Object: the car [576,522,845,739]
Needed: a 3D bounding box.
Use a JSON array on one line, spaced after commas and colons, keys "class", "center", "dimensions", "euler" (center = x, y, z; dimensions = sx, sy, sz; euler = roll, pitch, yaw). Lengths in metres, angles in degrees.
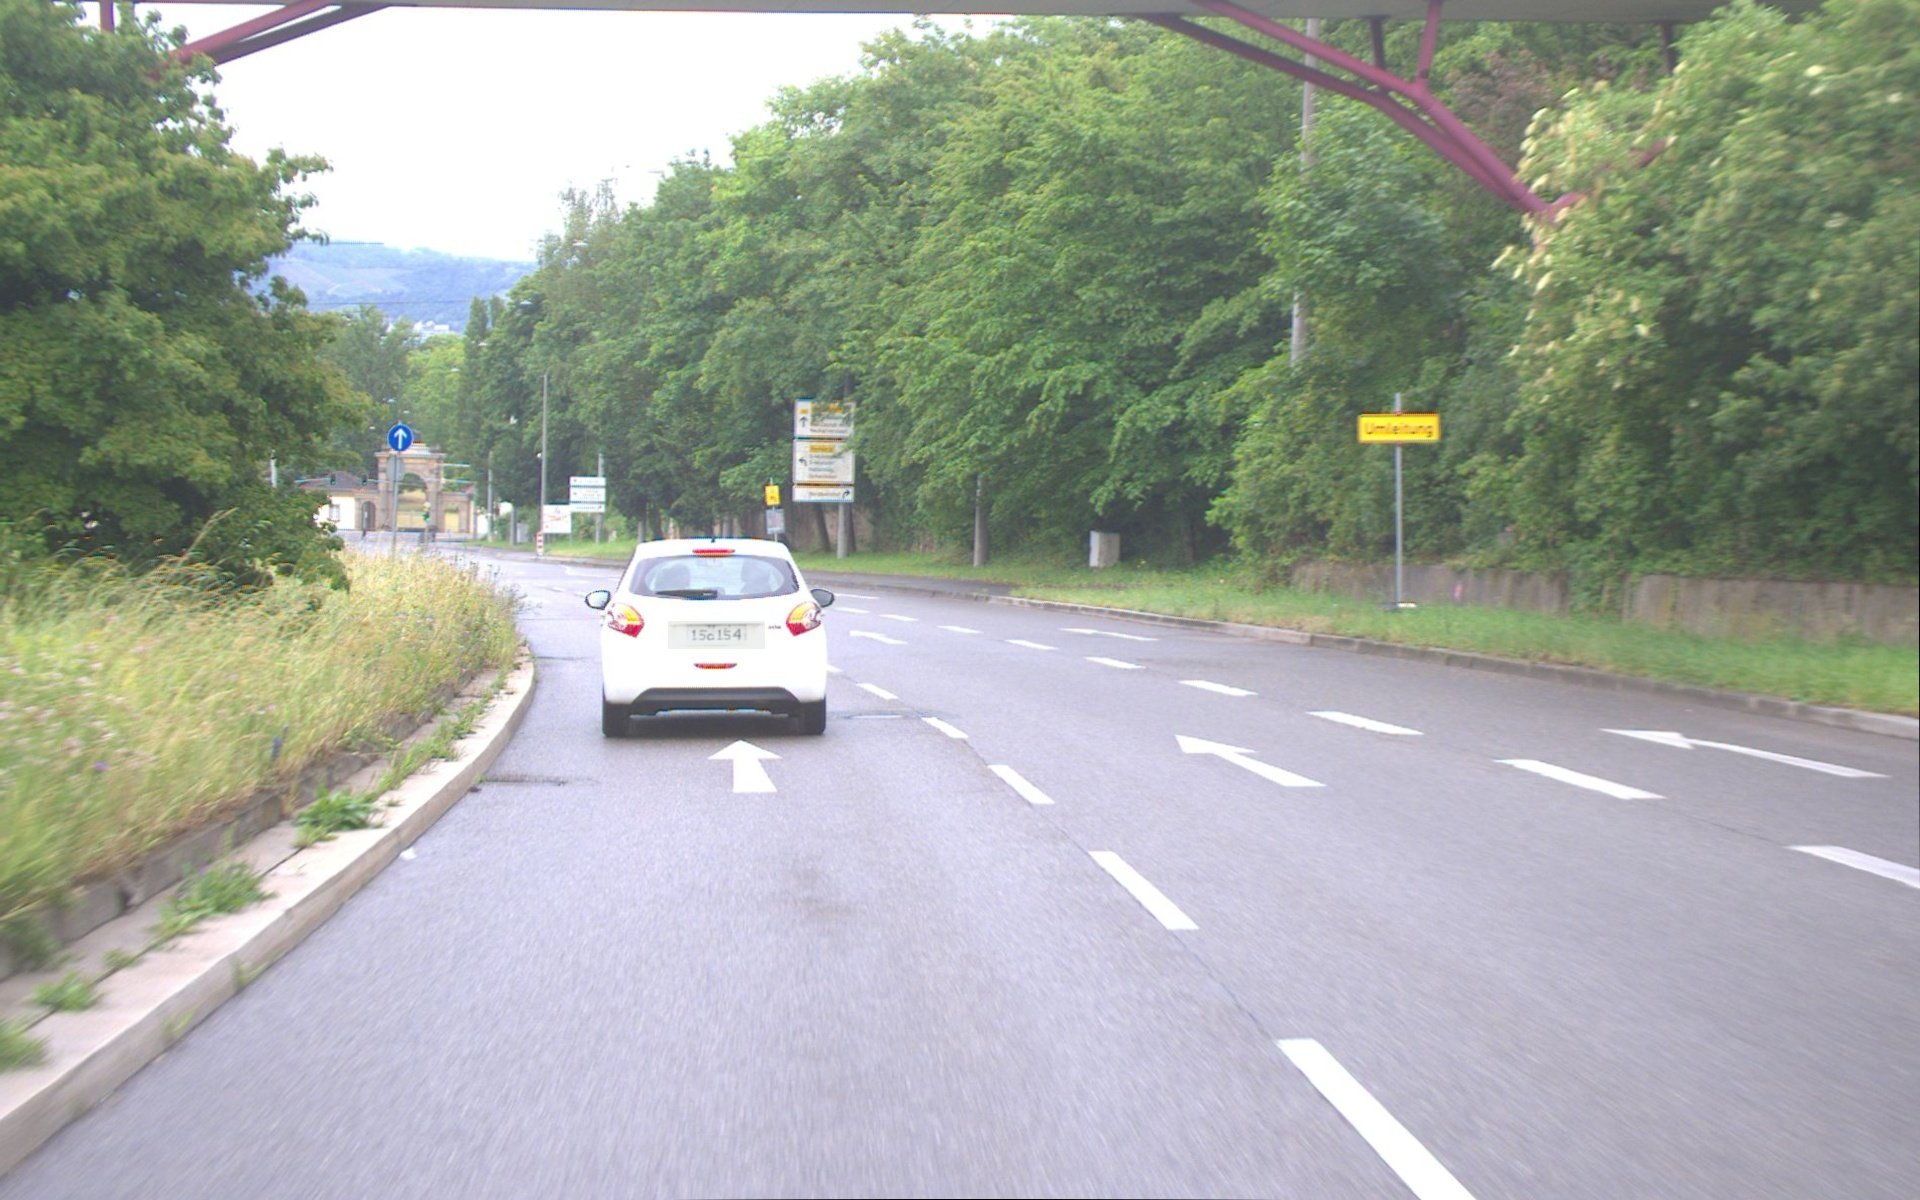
[{"class": "car", "center": [-2.017, 0.180, 26.825], "dimensions": [1.868, 1.505, 3.901], "euler": [1, 2, -7]}]
